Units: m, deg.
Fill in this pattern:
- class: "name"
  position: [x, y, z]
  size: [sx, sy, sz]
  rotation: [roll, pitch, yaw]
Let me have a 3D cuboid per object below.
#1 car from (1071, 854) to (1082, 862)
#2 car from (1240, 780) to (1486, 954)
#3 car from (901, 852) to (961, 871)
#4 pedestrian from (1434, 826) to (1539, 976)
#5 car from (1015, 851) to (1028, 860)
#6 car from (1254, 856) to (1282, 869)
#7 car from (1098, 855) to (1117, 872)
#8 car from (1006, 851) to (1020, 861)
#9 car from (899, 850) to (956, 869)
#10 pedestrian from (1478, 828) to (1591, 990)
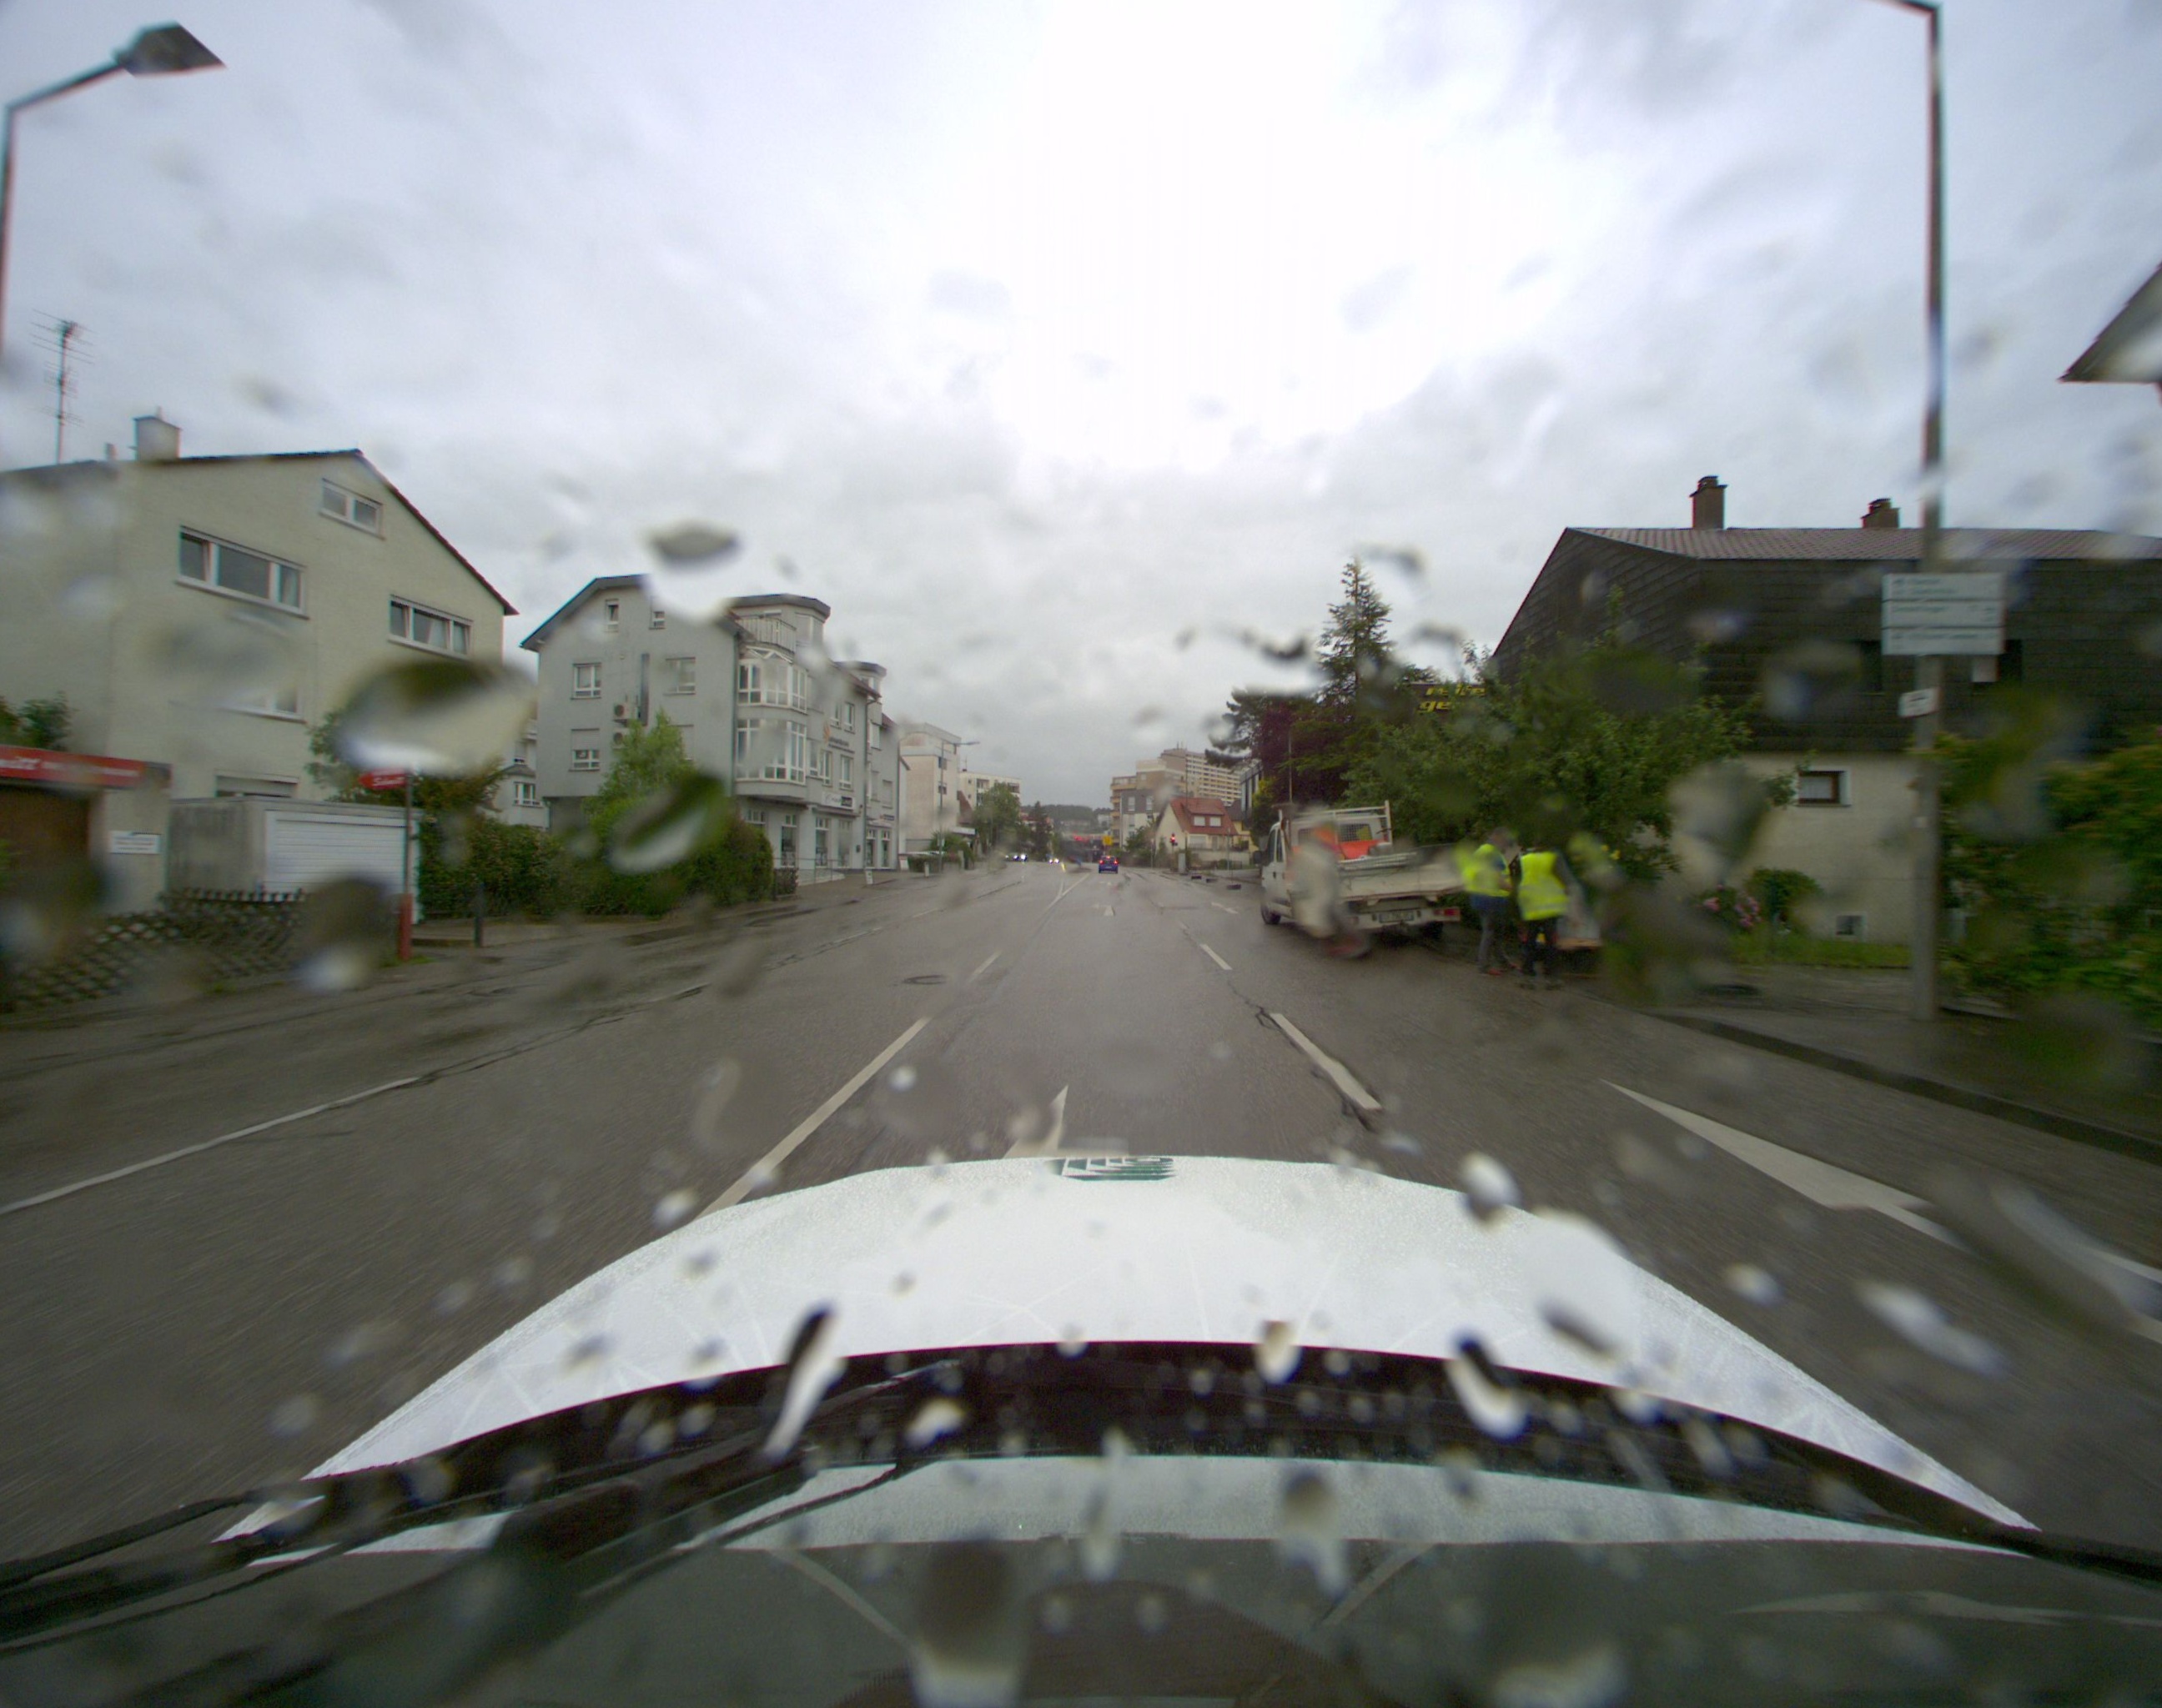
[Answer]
- class: "car"
  position: [-0.778, 0.781, 152.267]
  size: [1.805, 1.486, 4.192]
  rotation: [0, 0, 3]
- class: "car"
  position: [4.647, 0.183, 14.836]
  size: [2.382, 2.432, 6.435]
  rotation: [-1, 0, 2]
- class: "car"
  position: [-11.668, 0.599, 63.593]
  size: [4.196, 1.474, 1.908]
  rotation: [0, 0, 7]
- class: "pedestrian"
  position: [4.904, 0.546, 9.901]
  size: [0.709, 1.707, 0.889]
  rotation: [-2, 0, -9]
- class: "car"
  position: [-9.805, 0.275, 134.374]
  size: [1.708, 1.387, 4.022]
  rotation: [1, 0, 2]
- class: "car"
  position: [22.484, 1.057, 97.798]
  size: [1.723, 1.514, 4.025]
  rotation: [1, 0, 39]
- class: "car"
  position: [2.253, 0.778, 68.937]
  size: [1.572, 1.410, 3.272]
  rotation: [1, 0, 2]
- class: "car"
  position: [-10.634, 0.314, 127.231]
  size: [1.772, 1.420, 3.832]
  rotation: [1, 0, 2]
- class: "car"
  position: [-13.407, 0.466, 71.183]
  size: [4.421, 1.637, 1.945]
  rotation: [0, 0, 11]
- class: "pedestrian"
  position: [4.963, 0.568, 8.966]
  size: [0.575, 1.664, 0.941]
  rotation: [-2, 0, -9]
